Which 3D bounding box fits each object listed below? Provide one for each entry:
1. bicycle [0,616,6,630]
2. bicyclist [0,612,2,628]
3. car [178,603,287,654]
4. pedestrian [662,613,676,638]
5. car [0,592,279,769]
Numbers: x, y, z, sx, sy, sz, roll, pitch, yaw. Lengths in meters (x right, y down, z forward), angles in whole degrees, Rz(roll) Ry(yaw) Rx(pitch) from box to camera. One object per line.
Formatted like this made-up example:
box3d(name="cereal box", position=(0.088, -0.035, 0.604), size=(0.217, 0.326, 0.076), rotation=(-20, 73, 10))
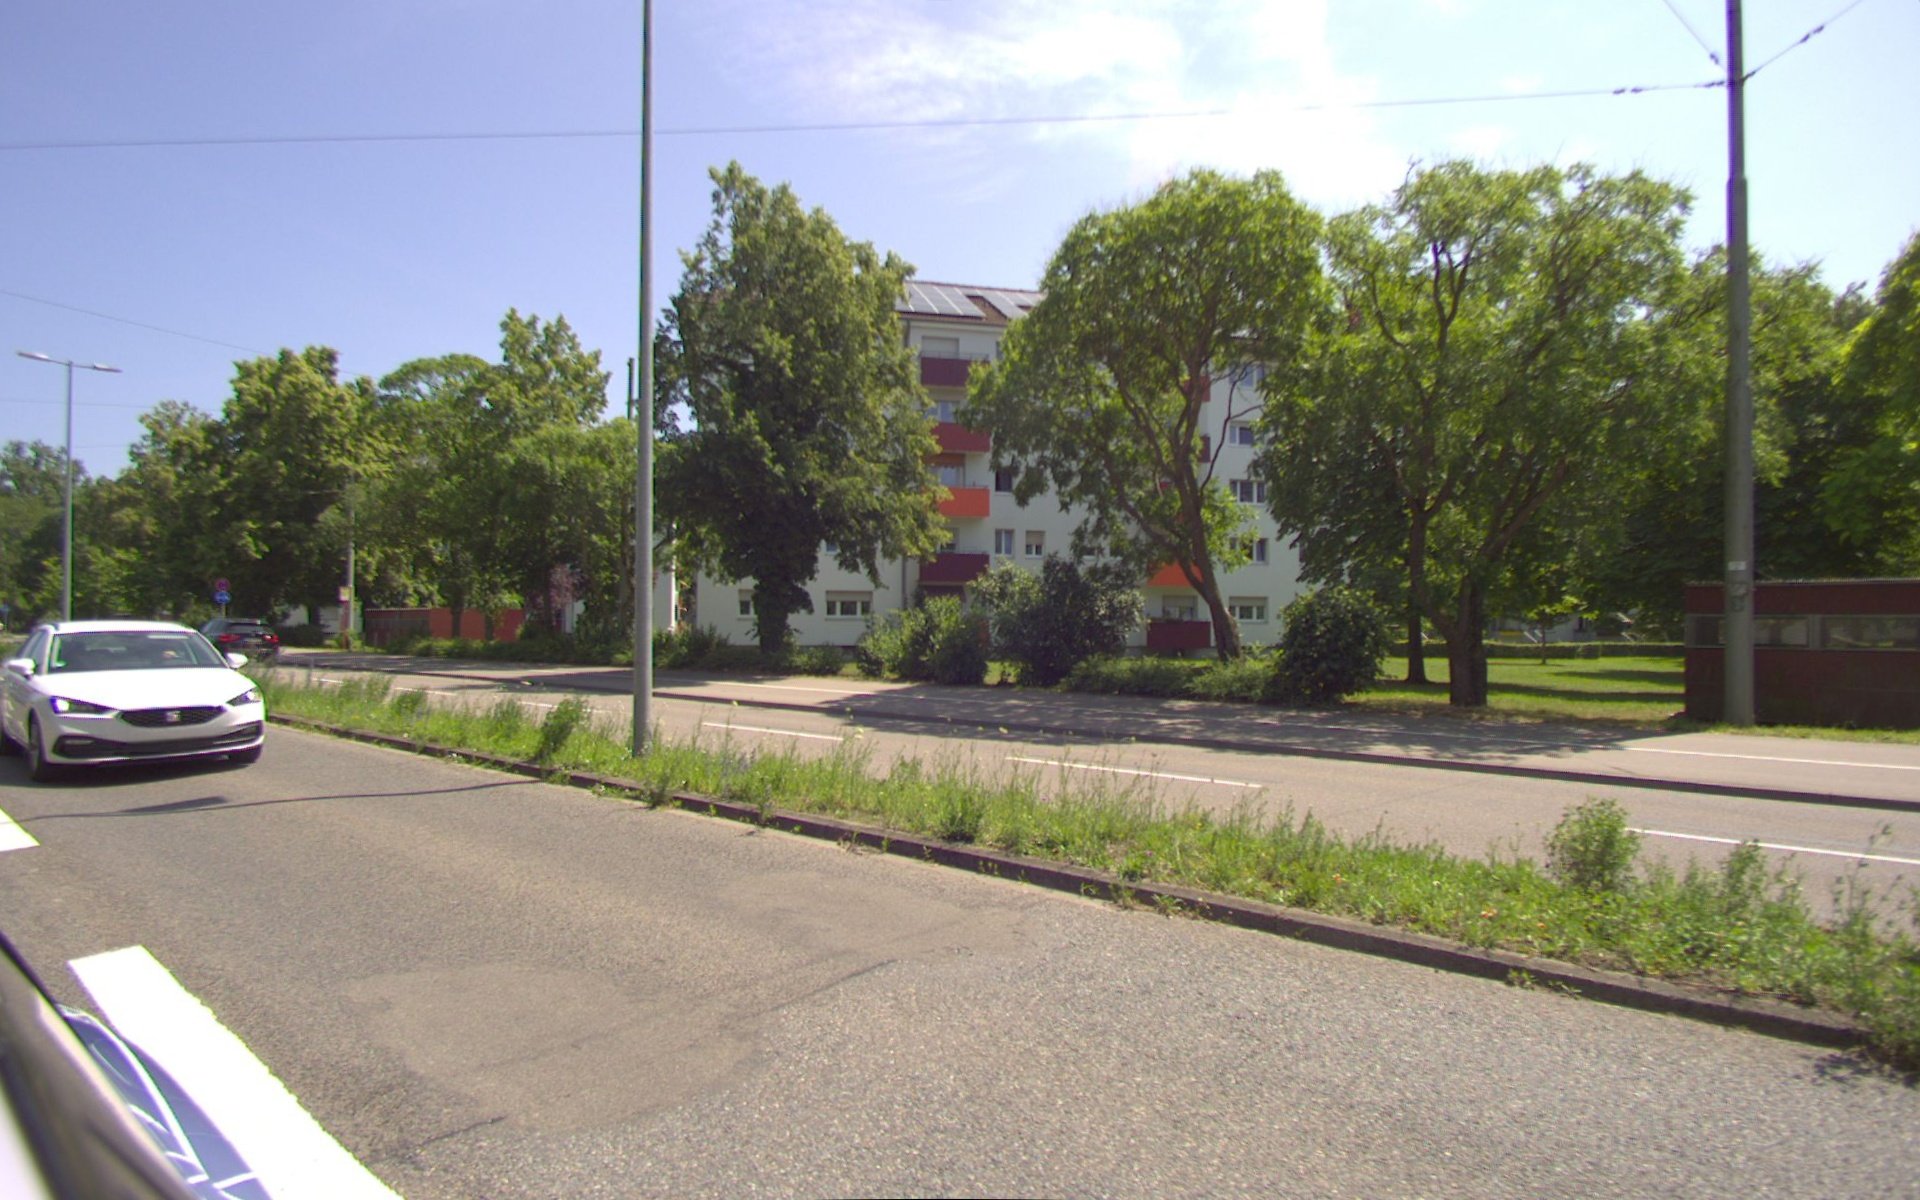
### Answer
box3d(name="bicycle", position=(-81.347, 1.937, 85.756), size=(1.378, 1.102, 0.548), rotation=(1, 1, 39))
box3d(name="bicyclist", position=(-81.490, 1.696, 85.812), size=(0.440, 1.402, 0.354), rotation=(-1, 1, 40))
box3d(name="car", position=(-25.423, 0.971, 35.320), size=(4.752, 1.638, 1.904), rotation=(0, -2, 40))
box3d(name="pedestrian", position=(-16.906, 1.473, 58.773), size=(0.688, 1.442, 0.468), rotation=(-1, -2, 41))
box3d(name="car", position=(-8.792, 0.685, 10.583), size=(4.109, 1.479, 1.749), rotation=(0, 1, 41))
